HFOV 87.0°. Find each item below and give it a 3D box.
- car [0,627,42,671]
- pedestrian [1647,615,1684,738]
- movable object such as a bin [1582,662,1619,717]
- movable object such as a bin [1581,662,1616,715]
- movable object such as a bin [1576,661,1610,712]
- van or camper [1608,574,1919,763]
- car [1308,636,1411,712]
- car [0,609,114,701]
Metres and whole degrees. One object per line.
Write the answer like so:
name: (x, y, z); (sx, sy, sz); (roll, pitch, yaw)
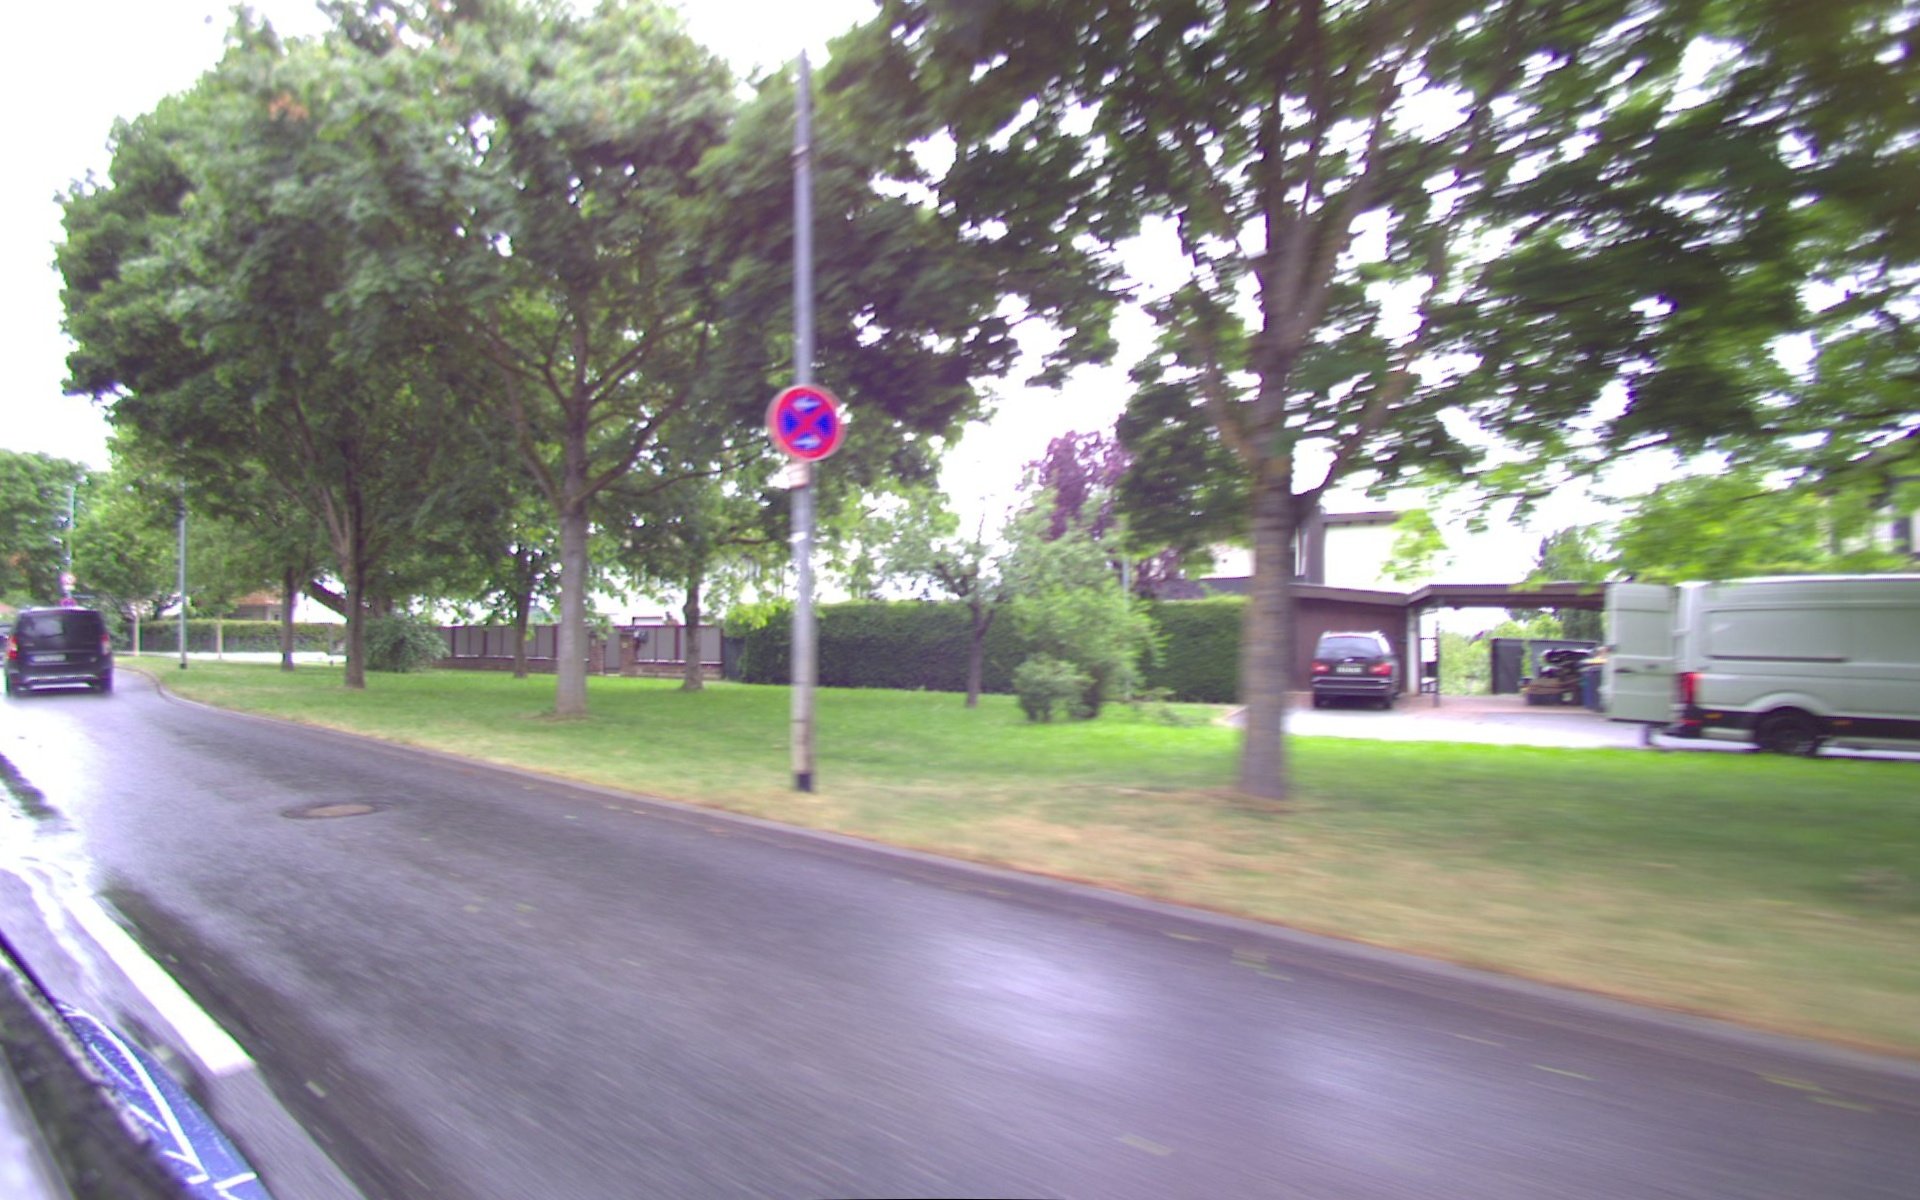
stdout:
car: (-36.073, 1.837, 38.445); (1.689, 1.609, 4.175); (1, -2, -43)
pedestrian: (10.538, 1.134, 15.124); (0.399, 1.796, 0.480); (-1, -3, 32)
movable object such as a bin: (12.938, 1.805, 20.450); (0.548, 1.066, 0.651); (-4, -3, 31)
movable object such as a bin: (13.287, 1.831, 21.068); (0.548, 1.066, 0.702); (-4, -3, 31)
movable object such as a bin: (13.602, 1.850, 21.744); (0.548, 1.066, 0.651); (-4, -3, 31)
van or camper: (12.402, 0.897, 13.620); (6.135, 2.353, 2.073); (-1, -3, 33)
car: (9.460, 1.671, 23.812); (1.894, 1.606, 3.963); (-1, -3, 27)
car: (-19.516, 1.123, 21.711); (1.756, 1.787, 4.288); (1, -2, -44)
